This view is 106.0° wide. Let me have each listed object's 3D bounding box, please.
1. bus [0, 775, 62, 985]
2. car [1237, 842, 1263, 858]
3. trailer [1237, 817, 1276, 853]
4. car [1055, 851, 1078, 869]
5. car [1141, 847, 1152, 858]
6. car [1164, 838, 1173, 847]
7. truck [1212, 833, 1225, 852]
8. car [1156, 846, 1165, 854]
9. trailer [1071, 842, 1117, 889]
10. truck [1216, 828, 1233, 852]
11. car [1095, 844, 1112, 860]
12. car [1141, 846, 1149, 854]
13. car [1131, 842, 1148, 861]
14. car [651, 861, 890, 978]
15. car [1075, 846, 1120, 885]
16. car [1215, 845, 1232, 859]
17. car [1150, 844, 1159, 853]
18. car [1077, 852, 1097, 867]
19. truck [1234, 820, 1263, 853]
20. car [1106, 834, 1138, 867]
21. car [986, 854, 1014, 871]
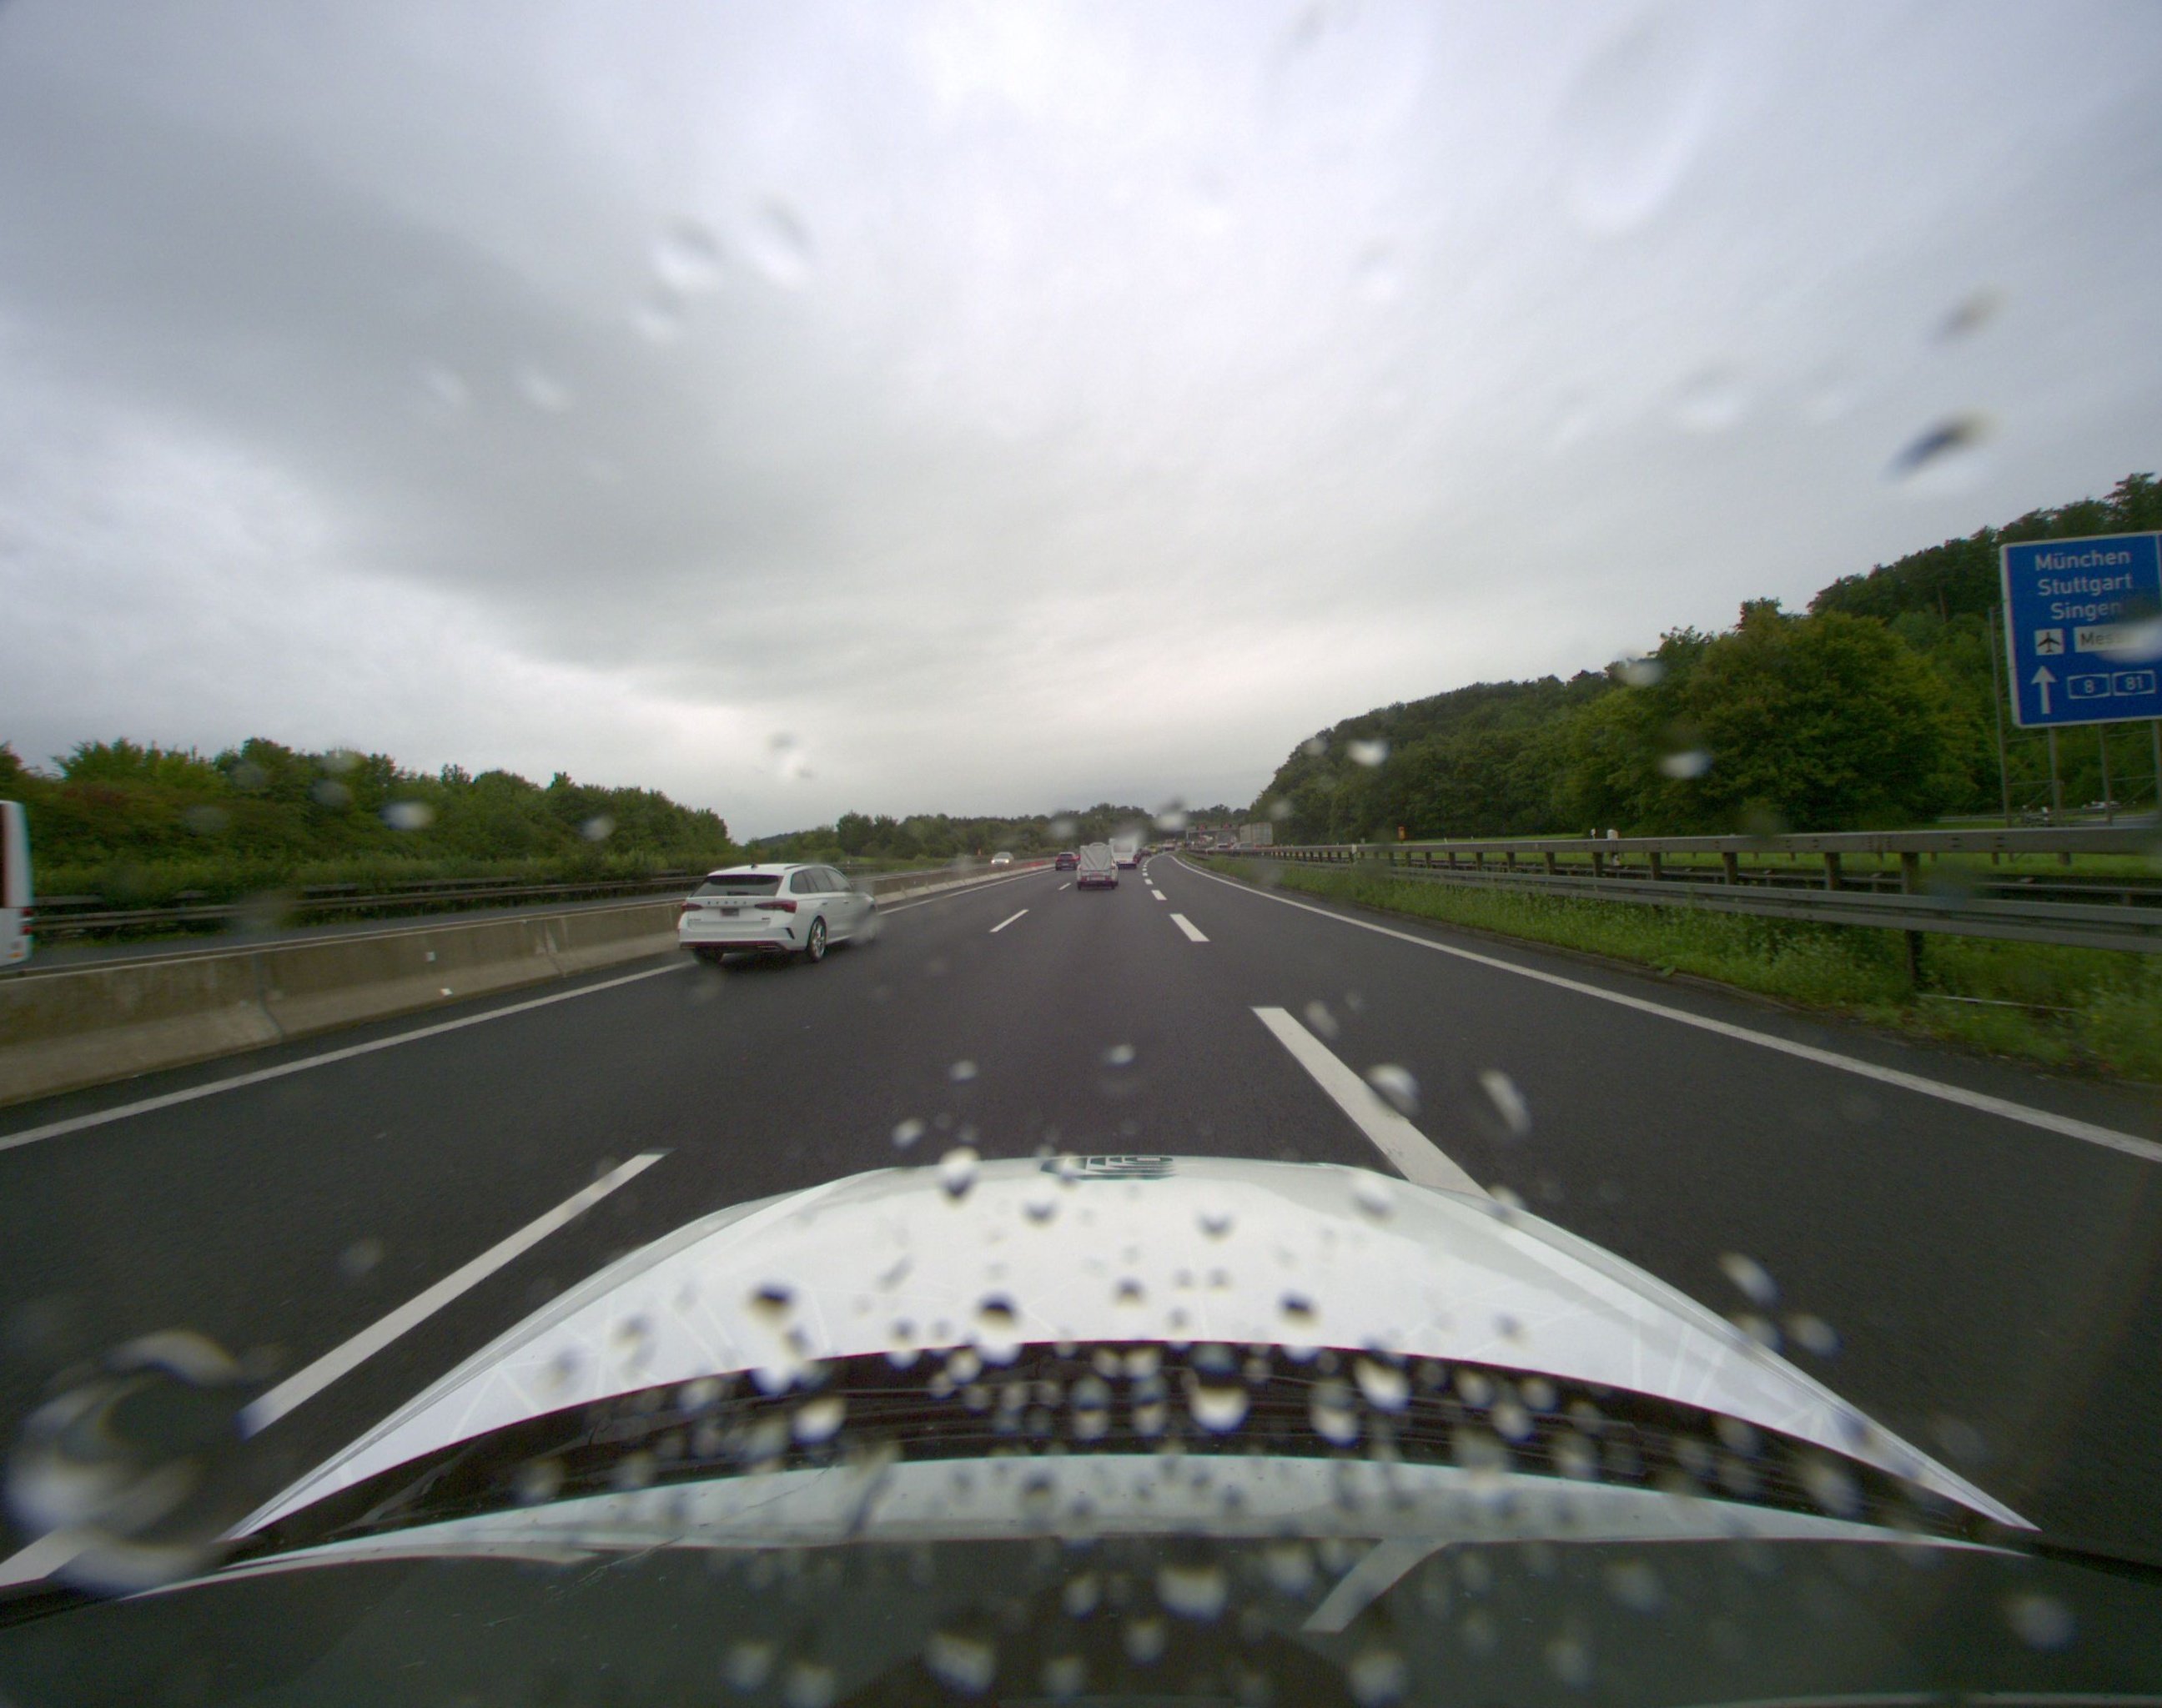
[{"bbox_3d":[-16.769,0.392,6.215,2.688,2.958,11.902,-2,0,2],"label":"bus"},{"bbox_3d":[15.542,-0.359,75.220,1.660,1.382,4.129,-4,0,3],"label":"car"},{"bbox_3d":[20.588,-2.135,96.326,2.592,3.894,12.504,-2,0,4],"label":"trailer"},{"bbox_3d":[-1.156,0.503,67.869,1.669,1.456,4.002,-2,0,2],"label":"car"},{"bbox_3d":[11.399,-0.305,141.985,1.669,1.812,4.002,-2,0,2],"label":"car"},{"bbox_3d":[24.458,-3.171,227.403,2.502,2.574,5.322,-2,0,7],"label":"car"},{"bbox_3d":[36.797,-3.031,218.109,3.195,4.666,13.069,-2,0,10],"label":"truck"},{"bbox_3d":[18.759,-0.984,192.975,2.027,1.683,4.007,-2,0,6],"label":"car"},{"bbox_3d":[0.602,0.464,34.594,1.668,1.812,4.004,-2,0,4],"label":"trailer"},{"bbox_3d":[30.087,-2.862,170.974,3.196,4.666,13.065,-2,0,9],"label":"truck"},{"bbox_3d":[2.919,-0.249,104.053,1.985,1.918,4.003,-2,0,3],"label":"car"},{"bbox_3d":[16.998,-0.985,216.961,1.984,2.013,4.006,-2,0,5],"label":"car"},{"bbox_3d":[6.595,-0.247,91.332,1.667,2.067,4.008,-2,0,7],"label":"car"},{"bbox_3d":[-4.653,0.880,13.111,1.811,1.456,4.780,-2,0,2],"label":"car"},{"bbox_3d":[0.828,0.509,37.918,1.810,1.616,4.783,-2,0,4],"label":"car"},{"bbox_3d":[18.200,-0.252,104.208,1.761,1.610,4.650,-2,0,5],"label":"car"},{"bbox_3d":[15.571,-1.213,171.975,1.667,1.812,4.008,-2,0,7],"label":"car"},{"bbox_3d":[0.627,0.536,85.910,1.757,1.456,4.005,-2,0,5],"label":"car"},{"bbox_3d":[21.076,-2.116,102.695,2.604,3.884,6.399,-2,0,4],"label":"truck"},{"bbox_3d":[3.529,-0.265,69.481,2.496,2.585,5.705,-2,0,4],"label":"car"},{"bbox_3d":[-8.293,0.855,83.614,1.984,1.711,4.309,-2,0,5],"label":"car"}]
